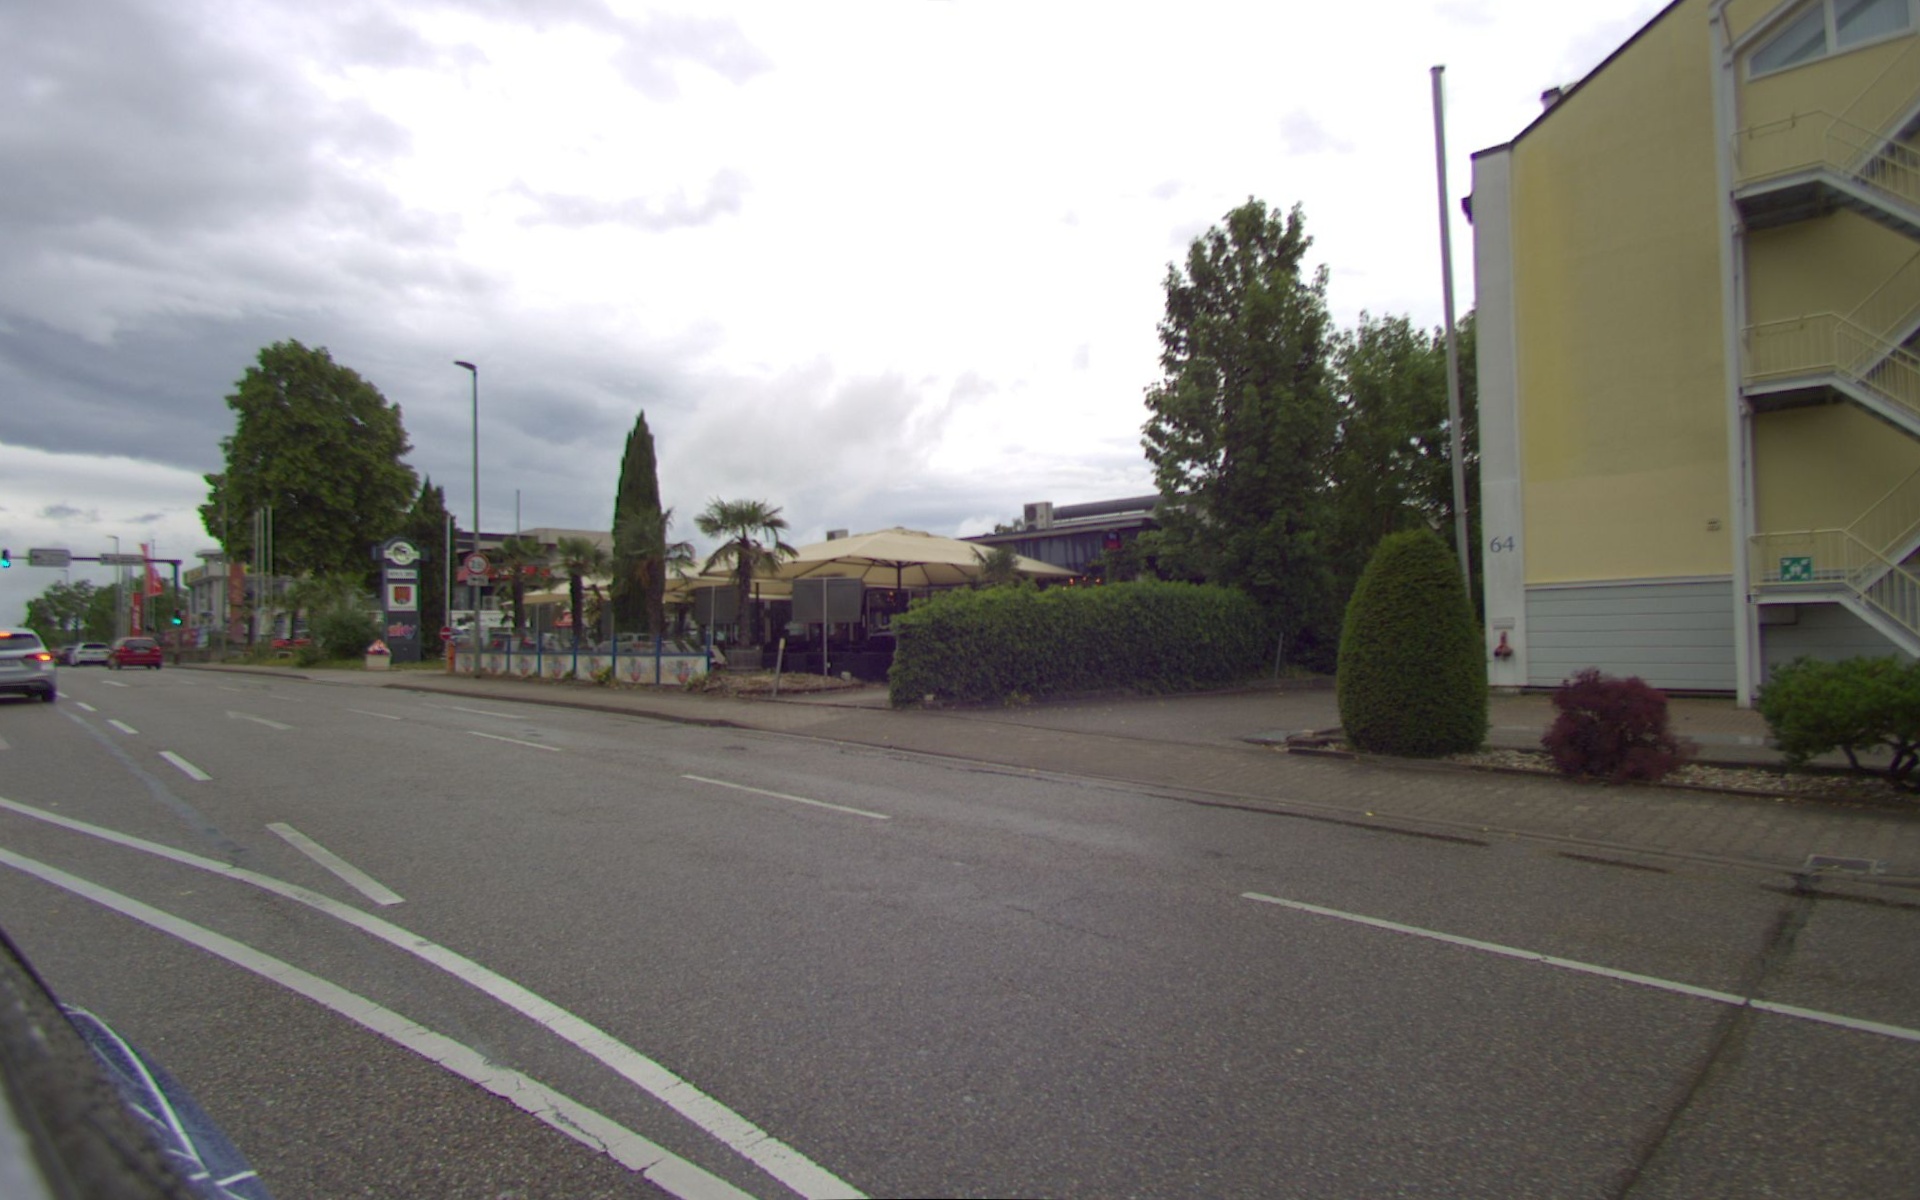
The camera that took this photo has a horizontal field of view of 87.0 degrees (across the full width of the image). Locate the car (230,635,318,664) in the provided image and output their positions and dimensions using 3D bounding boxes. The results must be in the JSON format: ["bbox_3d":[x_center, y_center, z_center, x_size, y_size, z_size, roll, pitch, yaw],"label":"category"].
[{"bbox_3d":[-36.942,2.632,54.558,3.557,1.515,1.670,0,-2,-16],"label":"car"}]

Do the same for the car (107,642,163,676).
[{"bbox_3d":[-39.325,2.808,48.229,1.618,1.545,3.974,3,-4,-45],"label":"car"}]

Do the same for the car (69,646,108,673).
[{"bbox_3d":[-52.093,3.542,60.536,1.616,1.489,4.052,1,-3,-39],"label":"car"}]

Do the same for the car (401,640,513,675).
[{"bbox_3d":[-22.687,2.613,45.829,1.986,1.475,4.337,1,-3,21],"label":"car"}]

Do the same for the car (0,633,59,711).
[{"bbox_3d":[-20.434,1.467,21.166,4.298,1.519,1.732,-2,-2,40],"label":"car"}]

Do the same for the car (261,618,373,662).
[{"bbox_3d":[-31.518,2.022,49.753,1.983,2.029,4.375,-2,-4,17],"label":"car"}]
